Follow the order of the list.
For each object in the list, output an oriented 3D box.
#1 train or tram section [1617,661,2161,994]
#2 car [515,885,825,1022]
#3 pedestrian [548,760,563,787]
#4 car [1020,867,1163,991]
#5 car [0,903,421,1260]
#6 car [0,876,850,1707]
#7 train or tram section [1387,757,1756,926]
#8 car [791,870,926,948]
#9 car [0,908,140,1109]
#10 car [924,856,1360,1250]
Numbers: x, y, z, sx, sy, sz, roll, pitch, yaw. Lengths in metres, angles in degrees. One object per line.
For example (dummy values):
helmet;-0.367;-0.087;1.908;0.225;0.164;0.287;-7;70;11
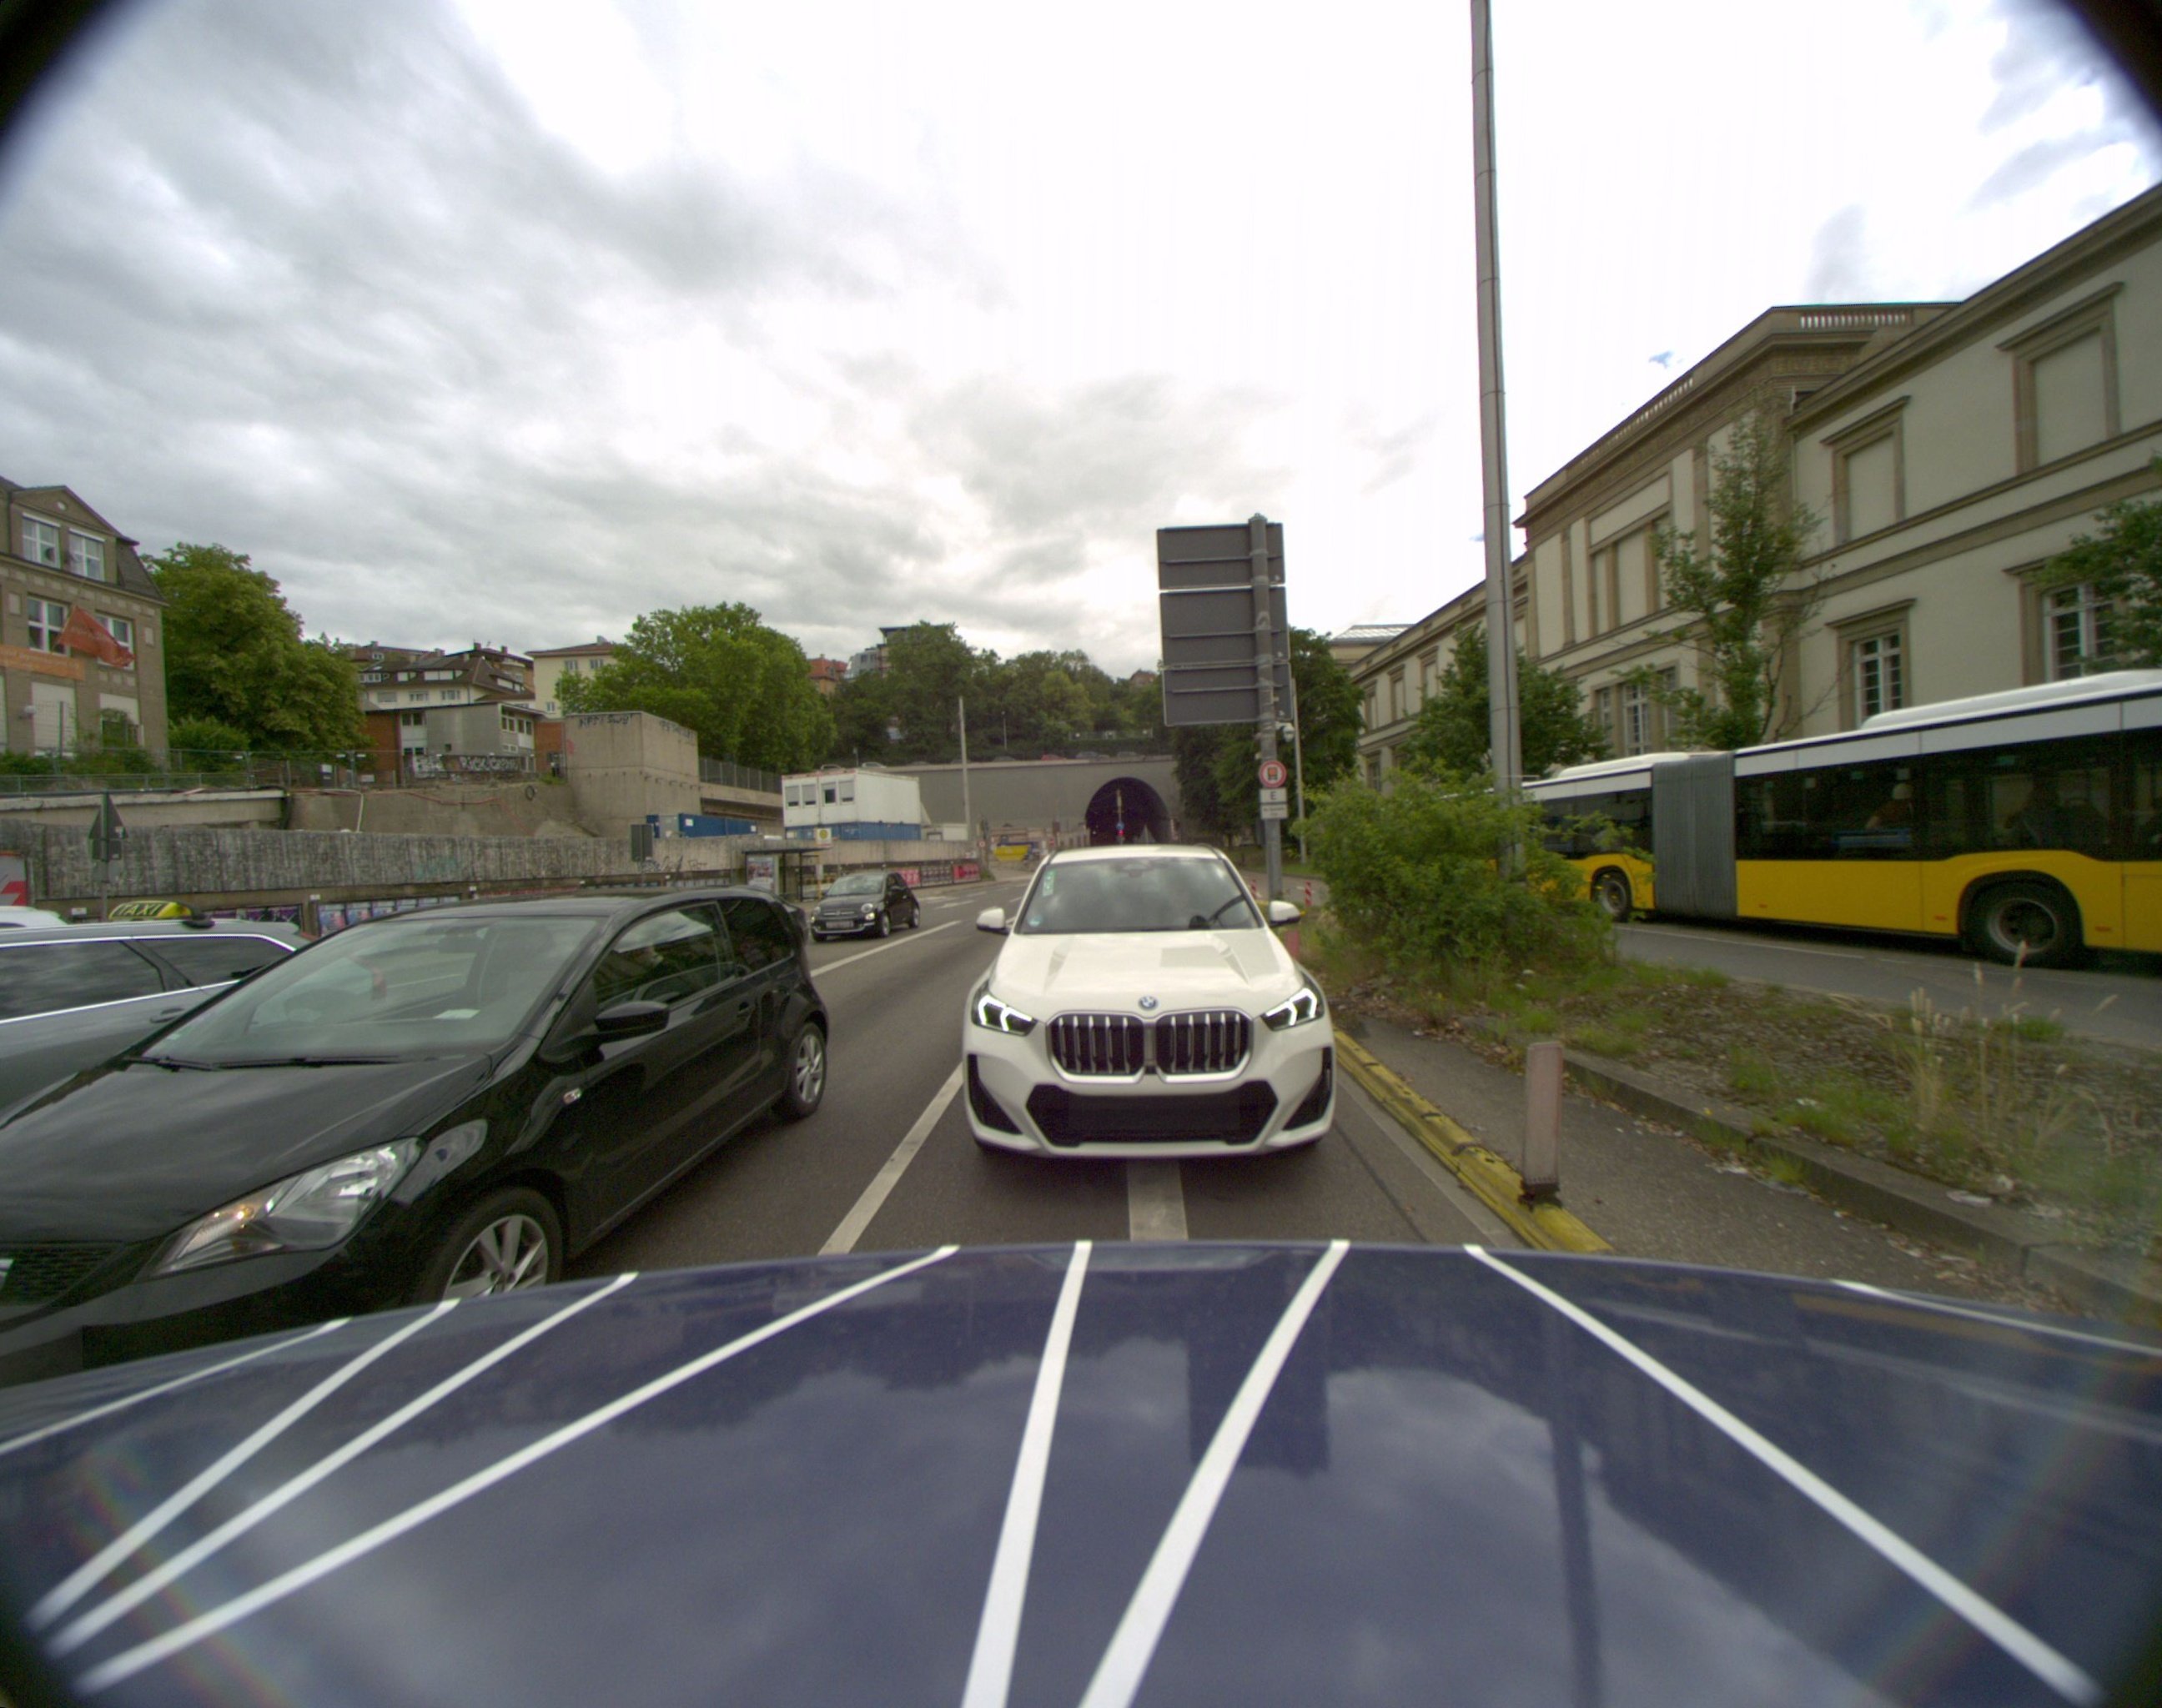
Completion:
train or tram section;11.235;-0.260;9.259;2.701;3.053;9.335;-1;0;-1
car;-5.403;1.224;10.760;1.826;1.356;4.219;-2;0;4
pedestrian;-36.648;-5.597;53.022;0.554;1.784;0.569;-2;1;3
car;0.217;0.989;11.598;1.756;1.427;3.911;-2;0;3
car;-5.828;1.142;3.454;1.826;1.457;4.217;-2;1;2
car;-2.533;0.977;3.275;1.661;1.547;3.911;-2;1;3
train or tram section;10.897;-0.228;18.612;2.701;3.053;9.374;-1;0;-2
car;-4.986;1.188;17.602;1.720;1.450;3.782;-3;0;4
car;-9.154;1.257;4.579;1.826;1.457;4.073;-2;1;0
car;0.335;0.847;5.122;1.756;1.547;3.911;-2;1;3
